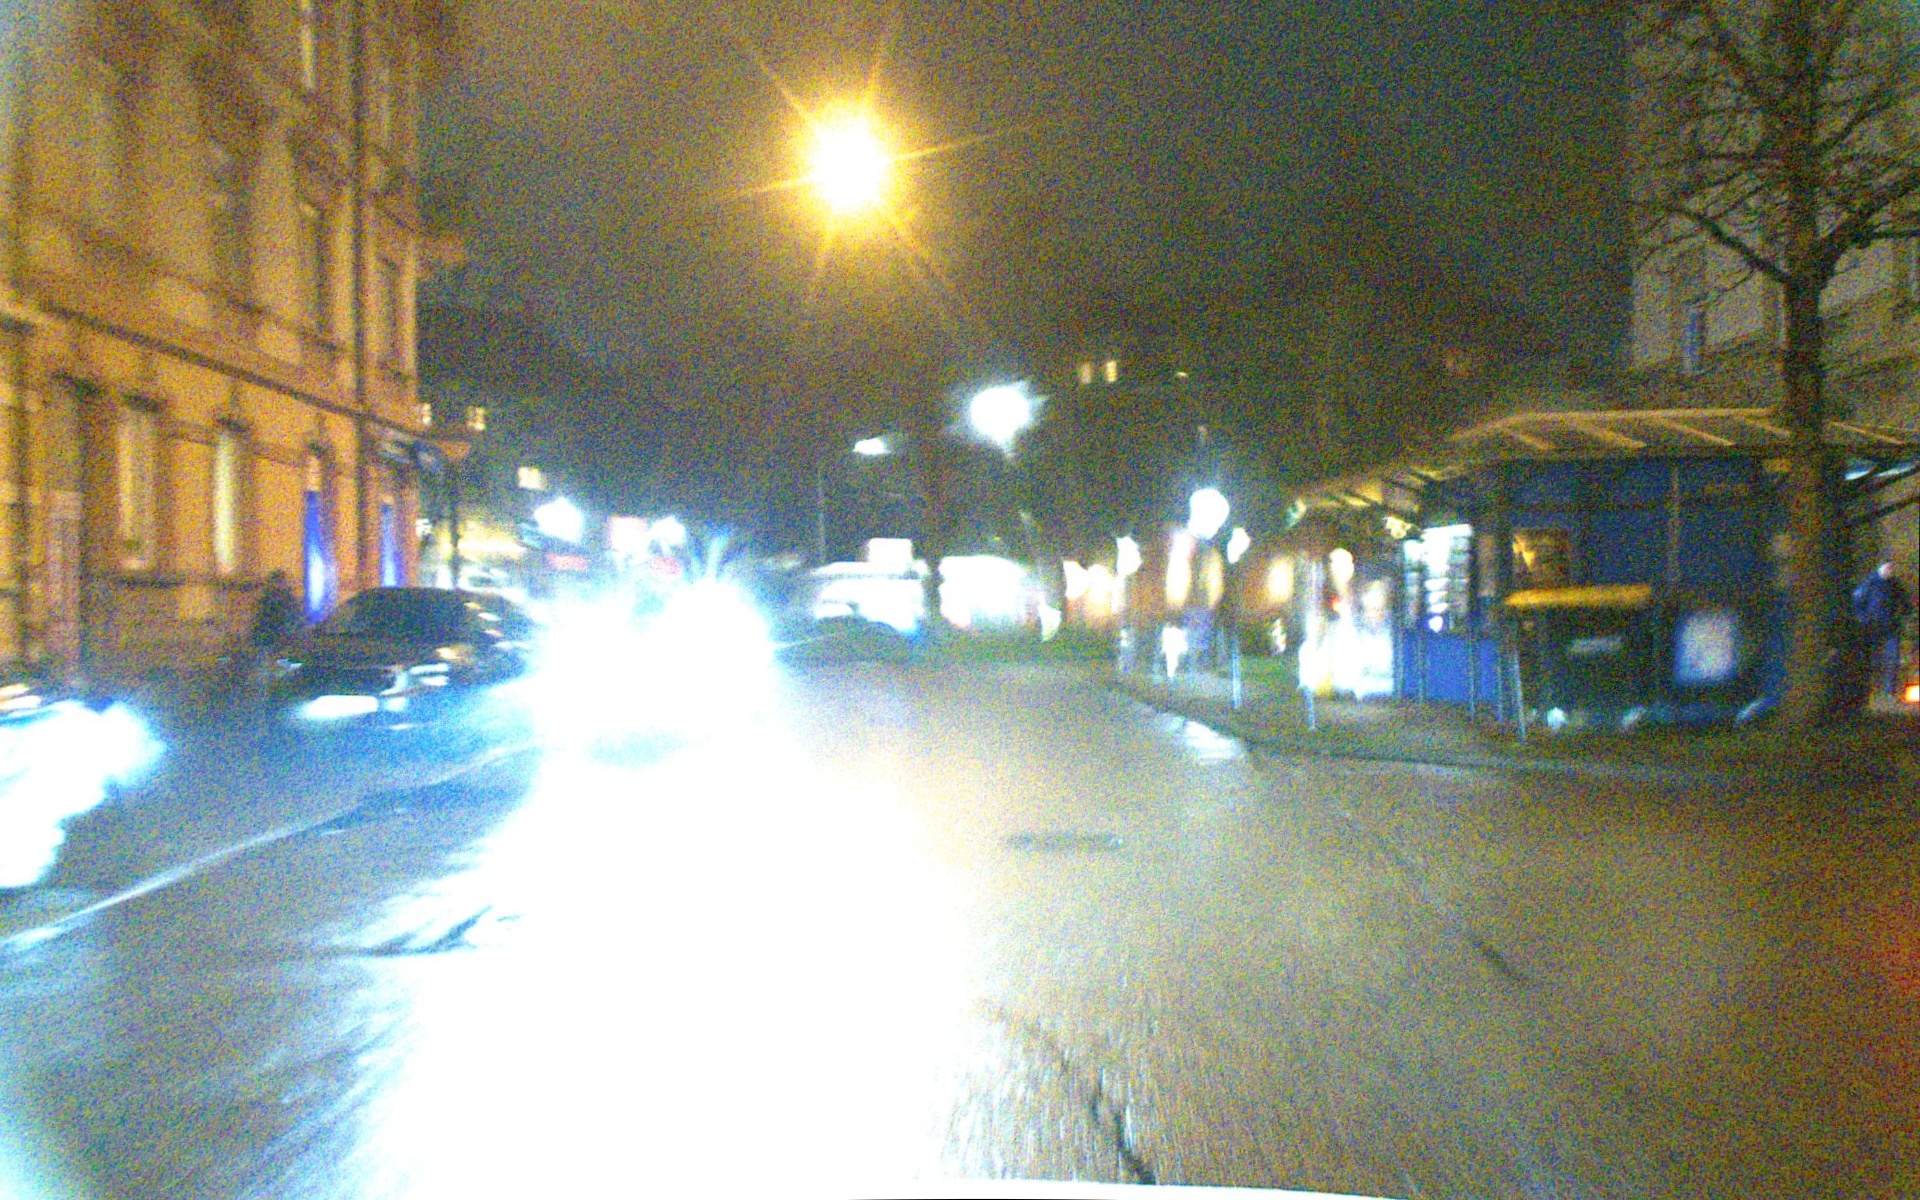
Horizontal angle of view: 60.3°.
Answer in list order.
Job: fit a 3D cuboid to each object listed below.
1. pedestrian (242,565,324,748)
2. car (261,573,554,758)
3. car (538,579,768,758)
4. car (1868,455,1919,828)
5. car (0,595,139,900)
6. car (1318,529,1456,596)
[{"bbox_3d":[-7.618,0.628,18.628,0.644,2.008,0.768,2,-1,-11],"label":"pedestrian"},{"bbox_3d":[-5.819,0.627,18.034,1.796,1.747,4.592,0,0,-2],"label":"car"},{"bbox_3d":[-3.239,0.652,18.320,1.882,1.646,4.571,-2,0,-3],"label":"car"},{"bbox_3d":[7.746,0.210,9.204,4.599,2.085,1.995,-1,0,-14],"label":"car"},{"bbox_3d":[-5.630,0.736,7.349,1.796,1.512,4.592,0,0,-2],"label":"car"},{"bbox_3d":[11.544,-0.975,44.655,3.415,1.642,1.718,2,-1,-31],"label":"car"}]
